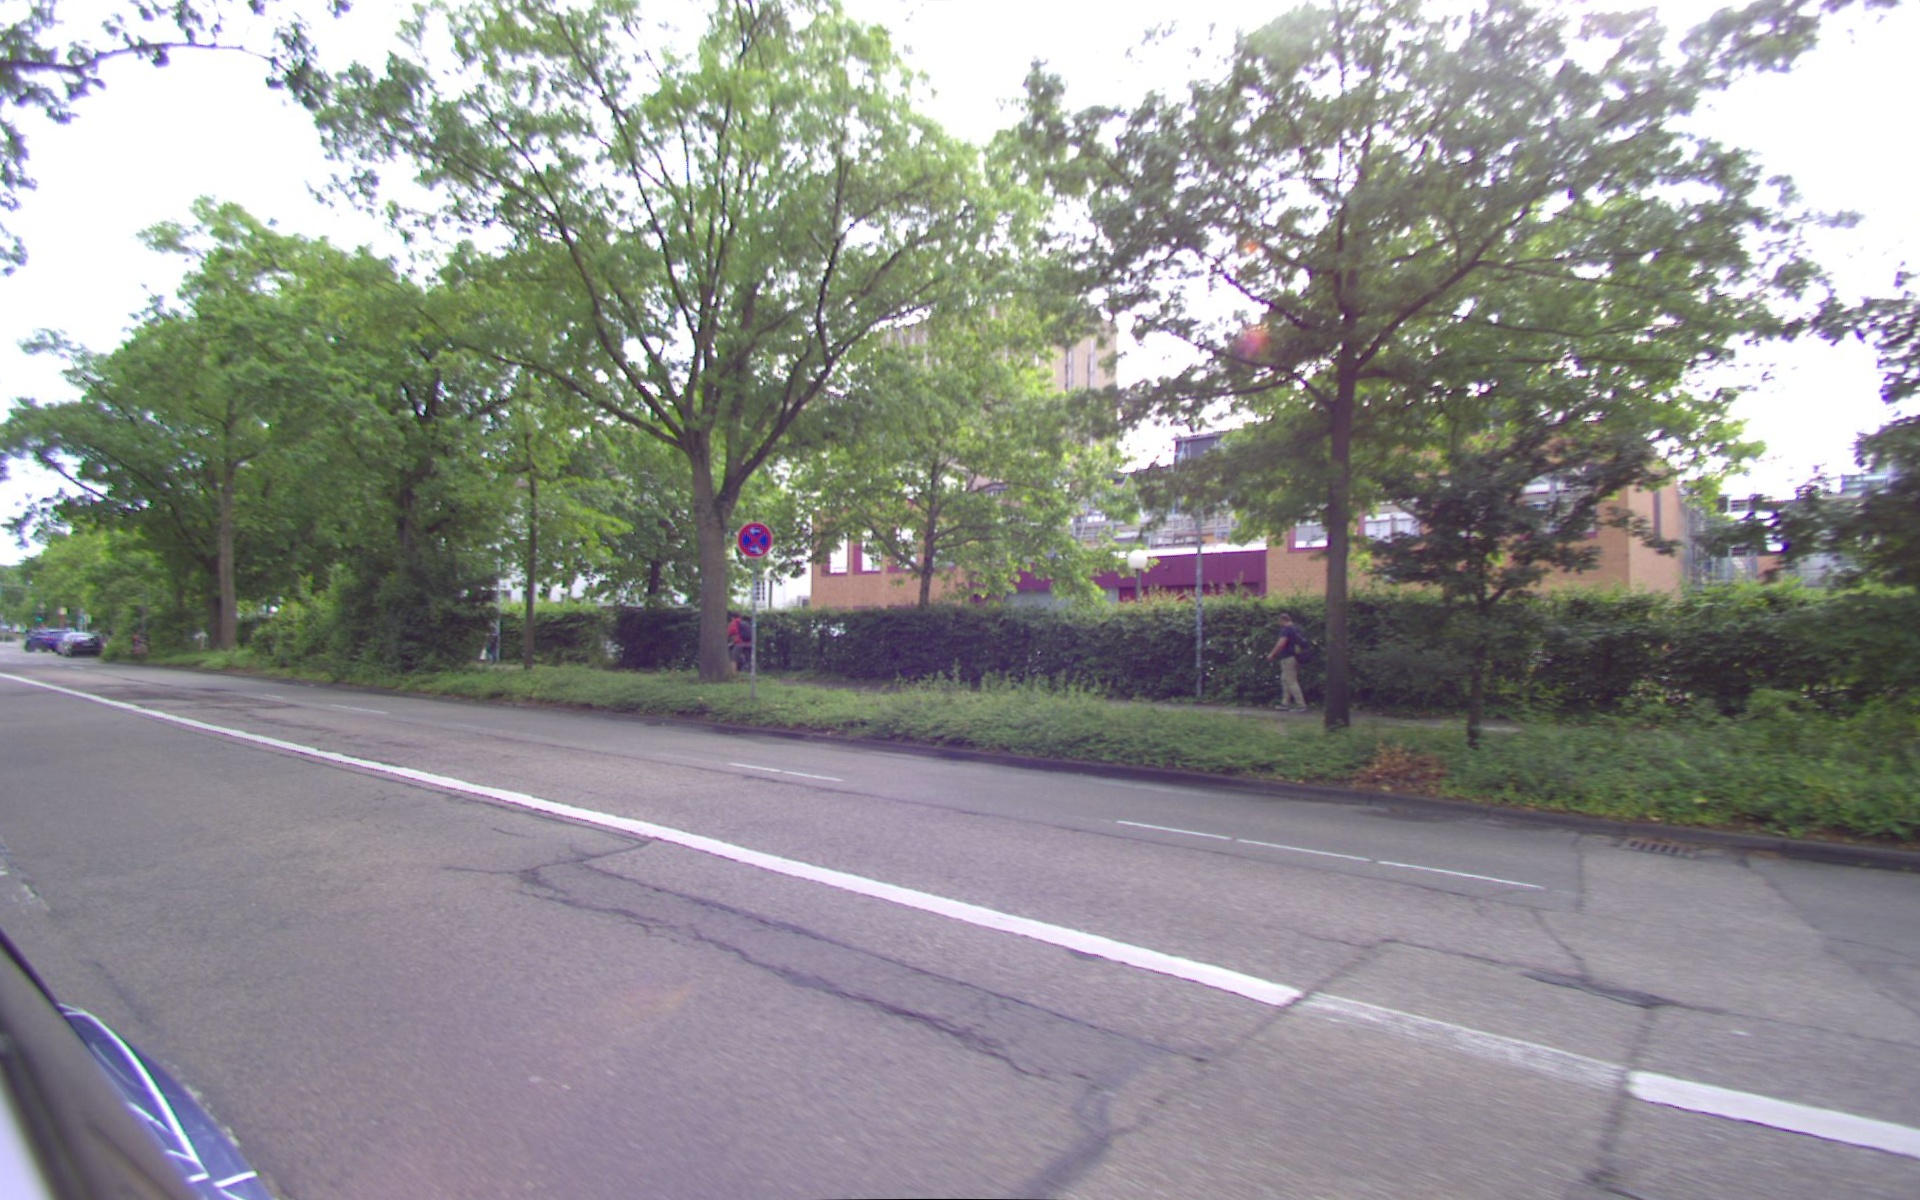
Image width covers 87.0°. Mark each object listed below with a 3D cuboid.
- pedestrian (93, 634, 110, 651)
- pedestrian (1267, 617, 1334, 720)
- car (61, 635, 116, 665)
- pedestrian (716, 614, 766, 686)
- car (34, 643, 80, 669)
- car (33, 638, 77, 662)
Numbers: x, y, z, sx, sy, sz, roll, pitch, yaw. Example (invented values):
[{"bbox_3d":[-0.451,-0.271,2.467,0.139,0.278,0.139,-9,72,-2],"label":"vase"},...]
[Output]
[{"bbox_3d":[-99.882,4.952,117.763,1.088,2.029,1.038,-1,-2,10],"label":"pedestrian"},{"bbox_3d":[5.919,1.164,17.592,0.796,1.731,0.747,0,-2,-36],"label":"pedestrian"},{"bbox_3d":[-52.871,2.996,61.355,3.998,1.702,1.973,-2,-2,41],"label":"car"},{"bbox_3d":[-5.066,1.141,23.423,0.848,1.626,0.783,-2,-2,41],"label":"pedestrian"},{"bbox_3d":[-57.263,3.512,64.168,4.730,1.435,1.853,-2,1,45],"label":"car"},{"bbox_3d":[-63.436,3.495,70.896,4.592,1.620,1.839,-2,-2,43],"label":"car"}]
